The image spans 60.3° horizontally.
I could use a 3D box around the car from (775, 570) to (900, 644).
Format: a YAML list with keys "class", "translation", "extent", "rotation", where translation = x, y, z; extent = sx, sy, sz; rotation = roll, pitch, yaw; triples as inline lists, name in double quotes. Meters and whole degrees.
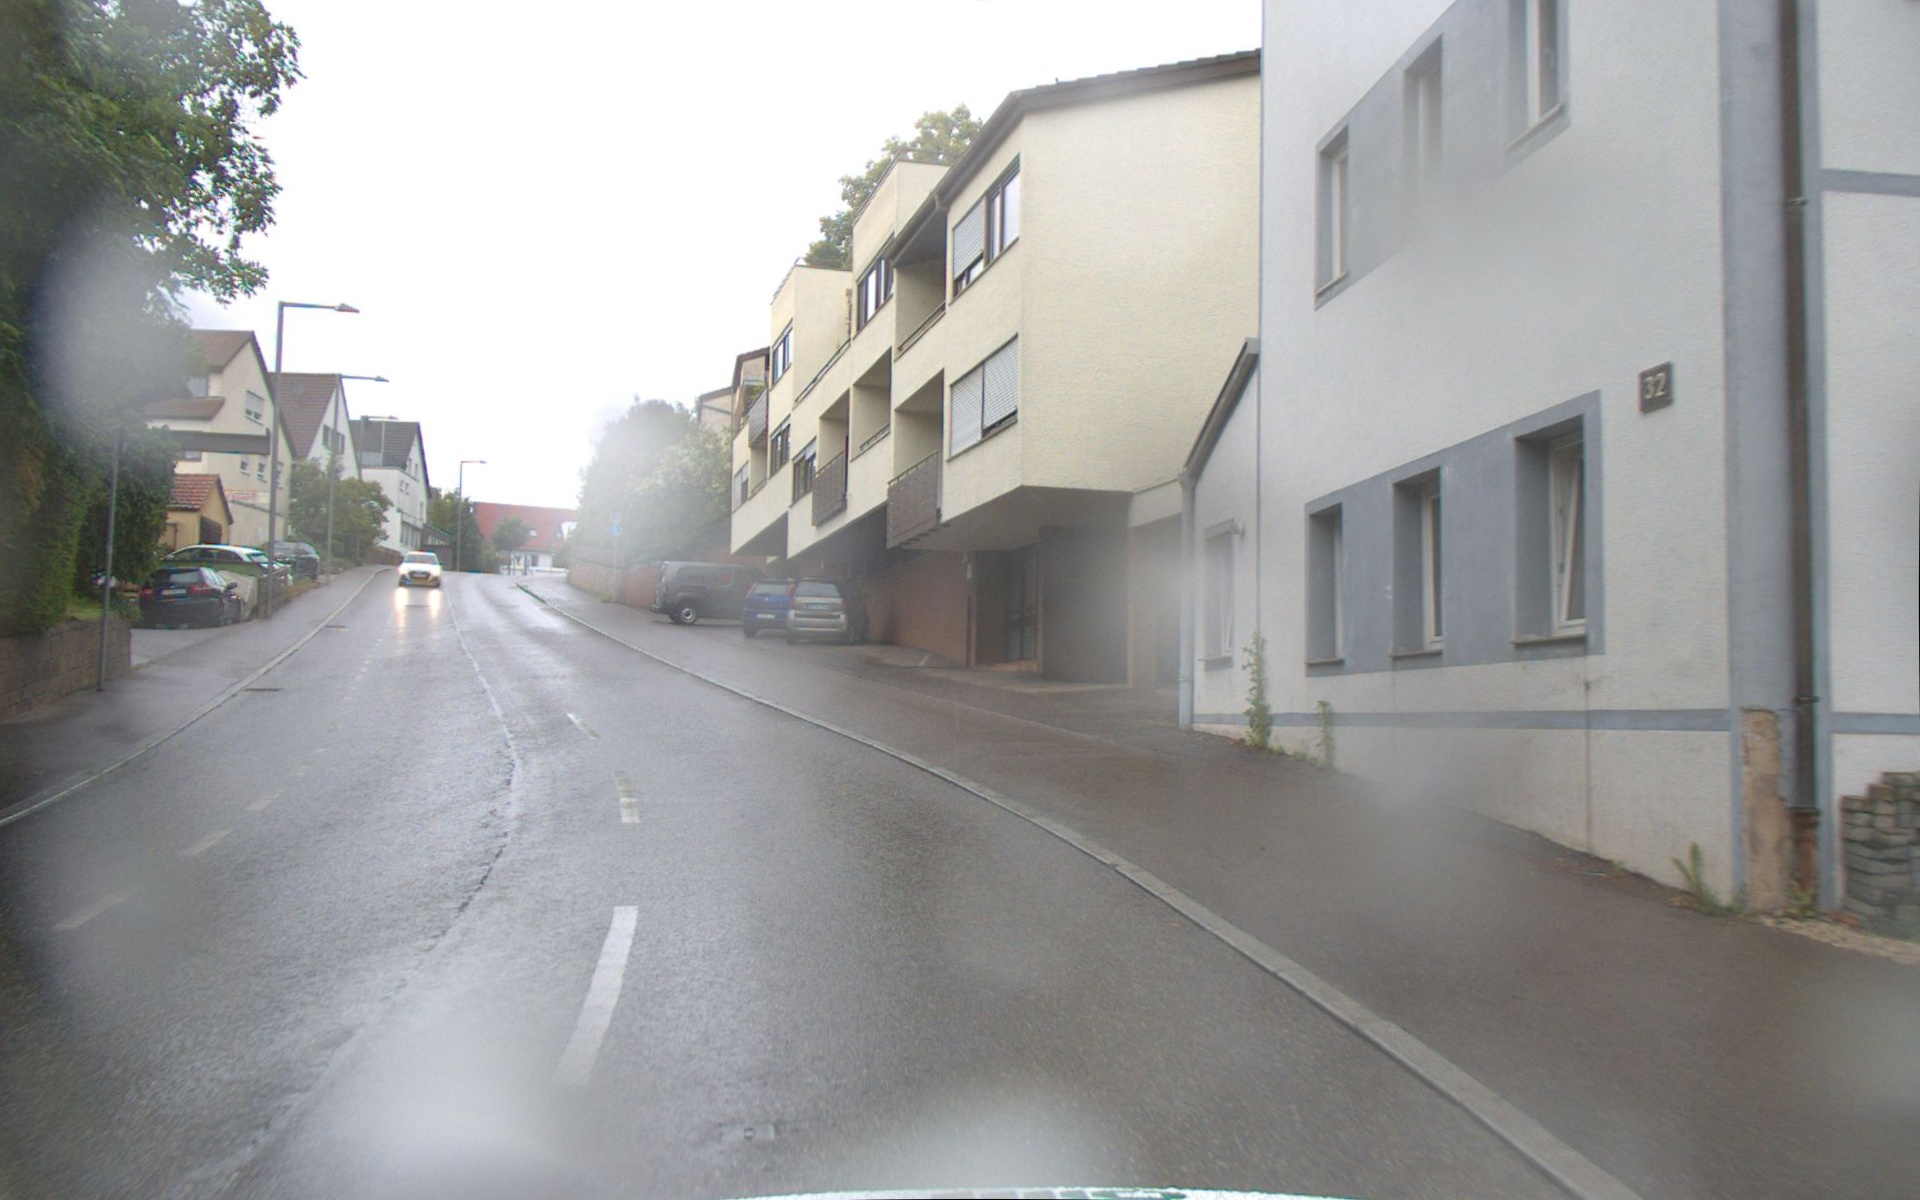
- class: "car"
  translation: [-2.915, 0.148, 40.138]
  extent: [1.744, 1.606, 4.070]
  rotation: [3, 1, 14]

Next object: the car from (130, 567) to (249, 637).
- class: "car"
  translation: [-18.120, 0.004, 39.105]
  extent: [1.864, 1.466, 4.427]
  rotation: [-1, 2, -16]

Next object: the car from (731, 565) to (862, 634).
- class: "car"
  translation: [-4.163, -0.015, 42.829]
  extent: [1.745, 1.606, 4.068]
  rotation: [3, 1, 20]

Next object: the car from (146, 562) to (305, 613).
- class: "car"
  translation: [-24.363, -0.425, 54.969]
  extent: [4.410, 1.531, 1.898]
  rotation: [1, 1, -7]

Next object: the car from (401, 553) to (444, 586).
- class: "car"
  translation: [-23.654, -1.357, 72.842]
  extent: [1.675, 1.412, 4.032]
  rotation: [-1, 2, -17]

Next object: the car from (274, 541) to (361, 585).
- class: "car"
  translation: [-25.878, -1.517, 66.820]
  extent: [1.936, 1.688, 4.958]
  rotation: [1, 2, -5]

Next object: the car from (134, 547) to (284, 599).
- class: "car"
  translation: [-23.785, -0.855, 52.491]
  extent: [3.910, 1.531, 1.898]
  rotation: [1, 1, -7]

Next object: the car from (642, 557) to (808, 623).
- class: "car"
  translation: [-7.052, -0.302, 49.612]
  extent: [4.636, 1.851, 1.990]
  rotation: [1, 2, -19]
